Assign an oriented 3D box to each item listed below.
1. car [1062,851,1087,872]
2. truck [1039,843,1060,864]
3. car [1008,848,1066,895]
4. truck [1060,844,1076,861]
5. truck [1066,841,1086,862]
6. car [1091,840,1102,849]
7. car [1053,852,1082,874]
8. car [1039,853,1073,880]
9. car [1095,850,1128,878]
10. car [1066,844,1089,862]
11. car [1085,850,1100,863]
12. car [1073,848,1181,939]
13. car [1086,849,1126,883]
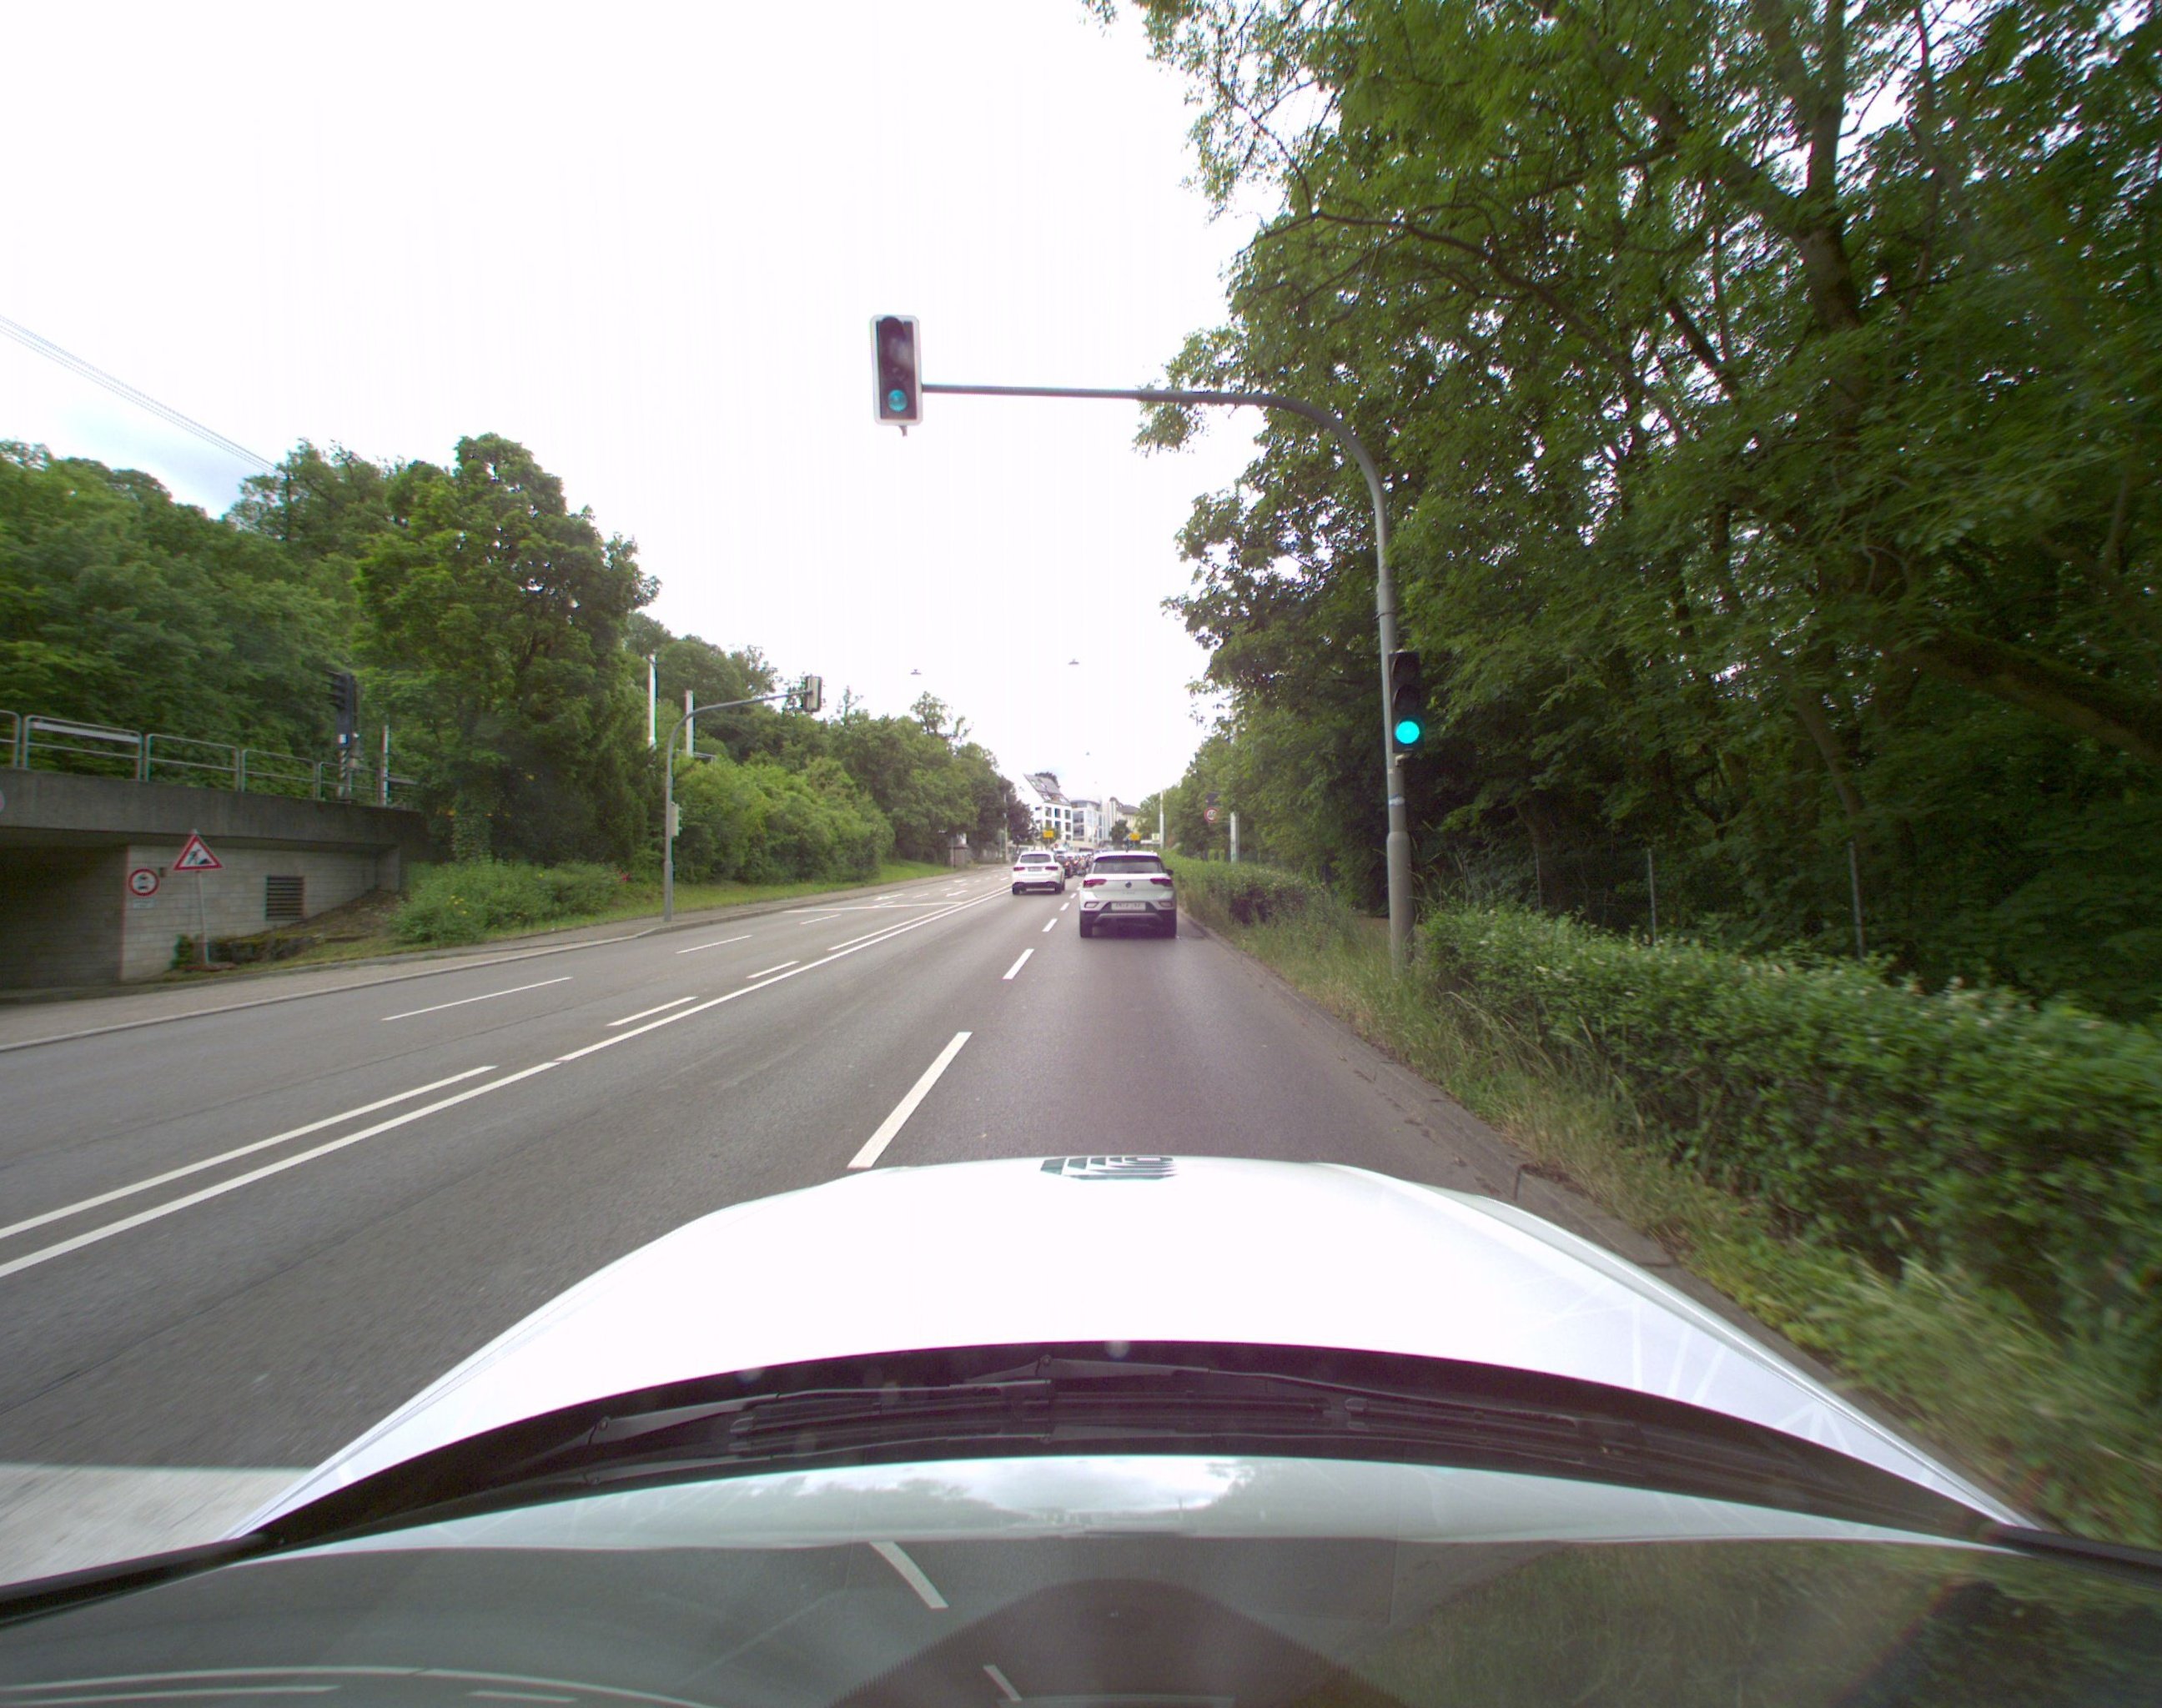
[{"bbox_3d":[-0.513,0.586,66.201,1.822,1.526,4.001,-2,0,2],"label":"car"},{"bbox_3d":[-4.114,-0.053,108.352,2.353,2.706,4.479,-3,0,2],"label":"truck"},{"bbox_3d":[-1.651,0.643,31.823,1.911,1.669,4.001,-1,0,2],"label":"car"},{"bbox_3d":[-2.475,-0.245,157.619,2.282,3.051,6.989,-3,0,5],"label":"truck"},{"bbox_3d":[-0.654,-0.321,112.692,2.353,2.782,4.479,-3,0,2],"label":"truck"},{"bbox_3d":[2.781,-1.654,143.819,1.822,1.526,4.001,-2,0,2],"label":"car"},{"bbox_3d":[-0.951,0.624,58.677,1.822,1.526,4.001,-2,0,2],"label":"car"},{"bbox_3d":[-1.516,0.746,50.792,1.822,1.497,4.001,-2,0,2],"label":"car"},{"bbox_3d":[1.802,0.570,48.363,1.822,1.526,4.001,-2,0,2],"label":"car"},{"bbox_3d":[-0.298,-0.061,73.723,1.822,1.526,4.001,-2,0,2],"label":"car"},{"bbox_3d":[1.559,0.290,105.446,1.822,1.526,4.001,-2,0,2],"label":"car"},{"bbox_3d":[0.853,0.679,16.118,1.822,1.526,4.001,-2,0,2],"label":"car"},{"bbox_3d":[1.259,0.581,40.813,1.822,1.526,4.001,-2,0,2],"label":"car"}]
